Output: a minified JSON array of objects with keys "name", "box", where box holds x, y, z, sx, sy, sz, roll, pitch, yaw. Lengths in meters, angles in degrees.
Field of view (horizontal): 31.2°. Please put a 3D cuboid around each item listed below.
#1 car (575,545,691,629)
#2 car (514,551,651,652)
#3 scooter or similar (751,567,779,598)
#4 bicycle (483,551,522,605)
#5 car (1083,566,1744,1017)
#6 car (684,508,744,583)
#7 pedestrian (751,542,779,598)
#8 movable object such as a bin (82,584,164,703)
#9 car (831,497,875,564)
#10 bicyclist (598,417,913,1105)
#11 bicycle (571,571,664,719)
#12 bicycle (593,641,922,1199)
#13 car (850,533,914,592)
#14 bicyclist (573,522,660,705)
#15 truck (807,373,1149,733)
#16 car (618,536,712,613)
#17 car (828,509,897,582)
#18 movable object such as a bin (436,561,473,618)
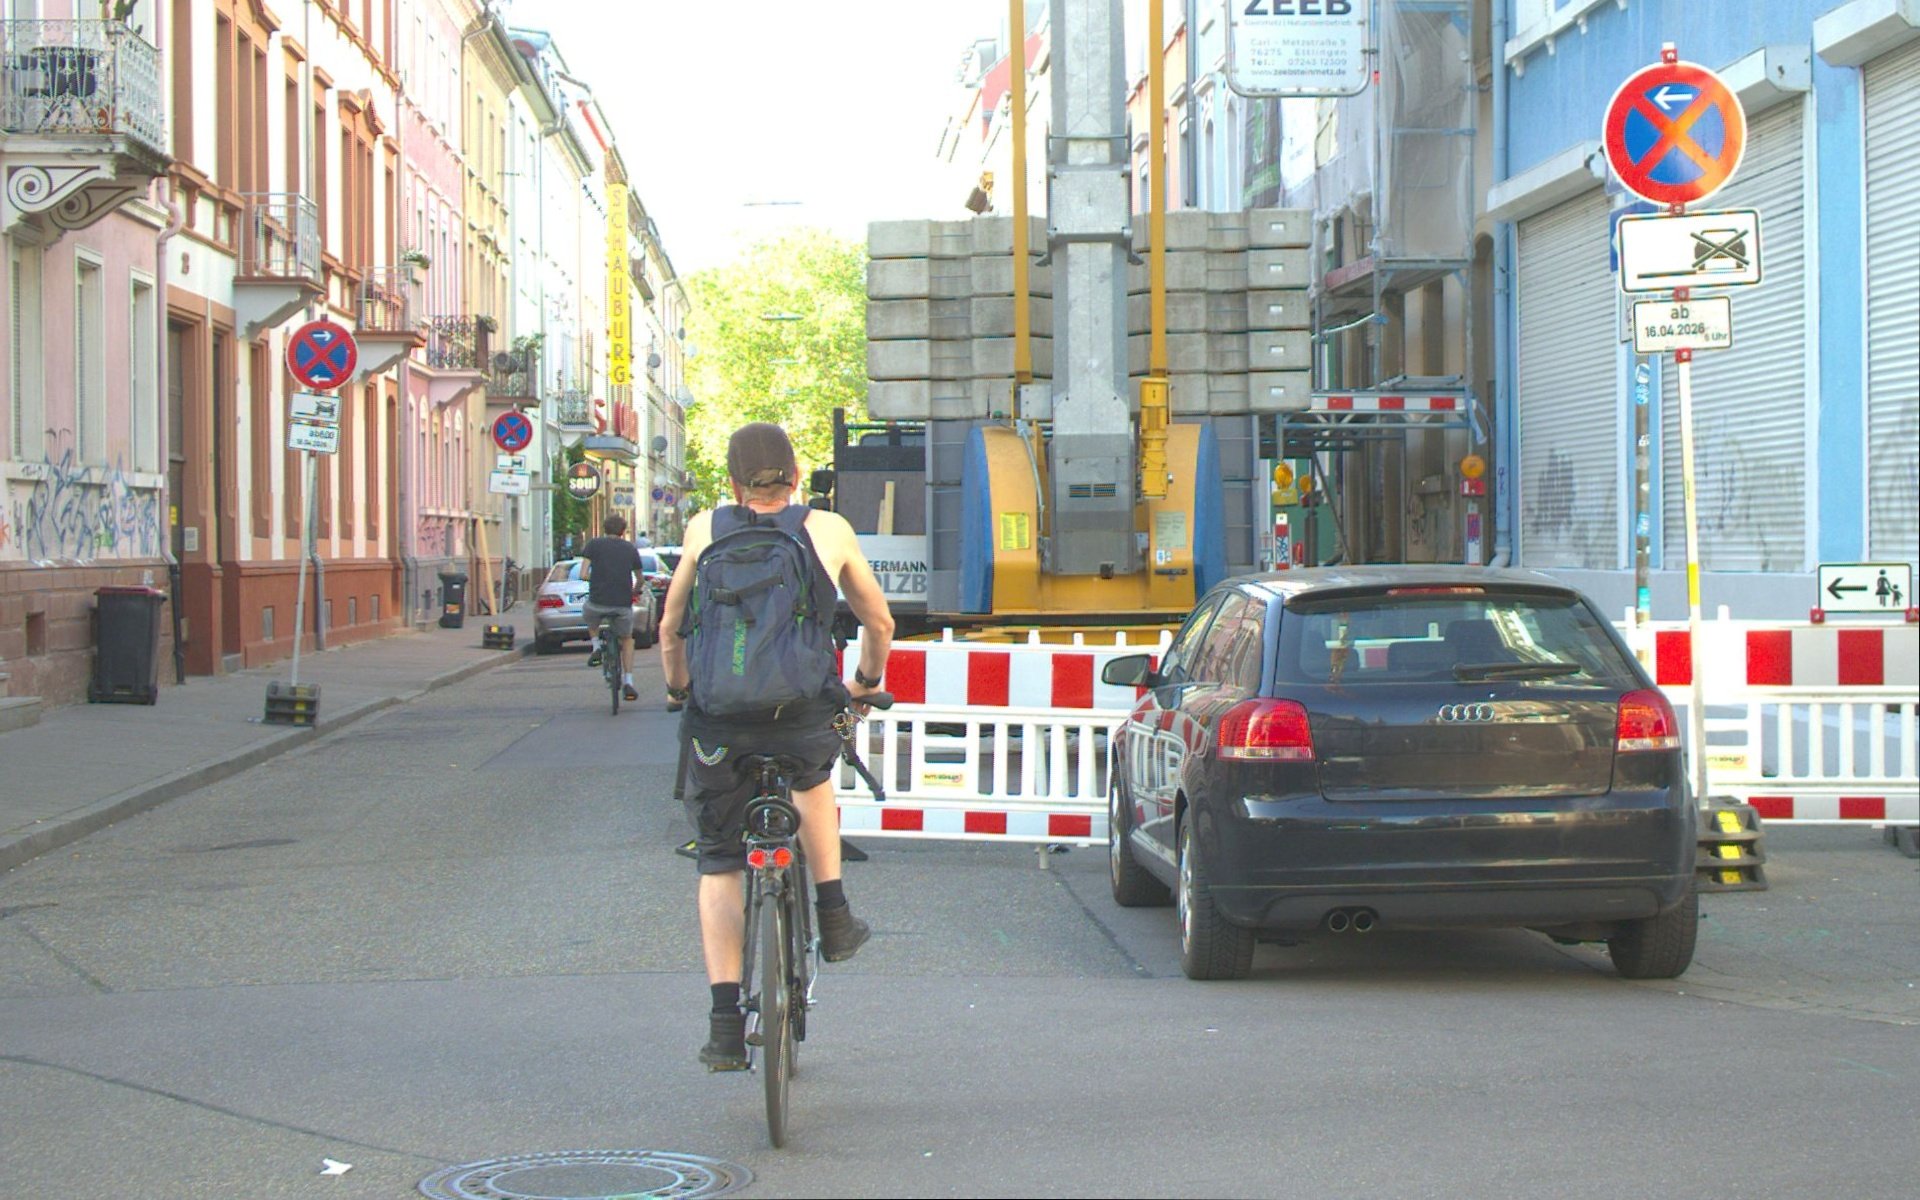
[{"name":"car","box":[-5.942,-0.262,62.864,1.710,1.378,4.356,-1,2,0]},{"name":"car","box":[-5.647,-0.006,51.847,1.710,1.378,4.506,-3,1,-3]},{"name":"scooter or similar","box":[-5.493,-0.501,96.842,0.770,0.870,0.771,1,0,-4]},{"name":"bicycle","box":[-9.432,-0.456,70.968,0.592,1.085,2.079,1,1,-2]},{"name":"car","box":[1.542,0.603,13.141,1.771,1.429,4.034,0,1,-3]},{"name":"car","box":[-8.378,-1.858,116.829,1.909,2.488,4.166,-1,1,-5]},{"name":"pedestrian","box":[-5.523,-0.849,97.292,0.770,1.573,0.900,1,0,-4]},{"name":"movable object such as a bin","box":[-7.382,0.377,30.336,0.605,1.032,0.596,1,0,-4]},{"name":"car","box":[-6.283,-4.018,201.189,2.307,3.755,6.770,-3,1,-3]},{"name":"bicyclist","box":[-0.513,0.379,8.797,0.702,1.627,1.090,-2,1,-2]},{"name":"bicycle","box":[-3.089,0.383,31.156,0.702,1.203,2.342,-2,2,-3]},{"name":"bicycle","box":[-0.506,0.746,8.899,0.702,1.204,2.342,-2,1,-2]},{"name":"car","box":[-2.188,-1.036,95.971,1.620,1.545,4.000,-3,1,-3]},{"name":"bicyclist","box":[-3.090,0.114,30.962,0.702,1.599,0.813,-2,2,-3]},{"name":"truck","box":[-0.002,-0.406,30.800,2.661,2.804,7.394,1,1,-2]},{"name":"car","box":[-5.941,-0.520,69.506,1.672,1.437,4.166,-3,1,-3]},{"name":"car","box":[-3.667,-2.022,127.966,2.307,2.529,6.770,-3,1,-3]},{"name":"movable object such as a bin","box":[-8.506,-0.179,57.846,0.543,0.941,0.487,1,0,-2]}]
